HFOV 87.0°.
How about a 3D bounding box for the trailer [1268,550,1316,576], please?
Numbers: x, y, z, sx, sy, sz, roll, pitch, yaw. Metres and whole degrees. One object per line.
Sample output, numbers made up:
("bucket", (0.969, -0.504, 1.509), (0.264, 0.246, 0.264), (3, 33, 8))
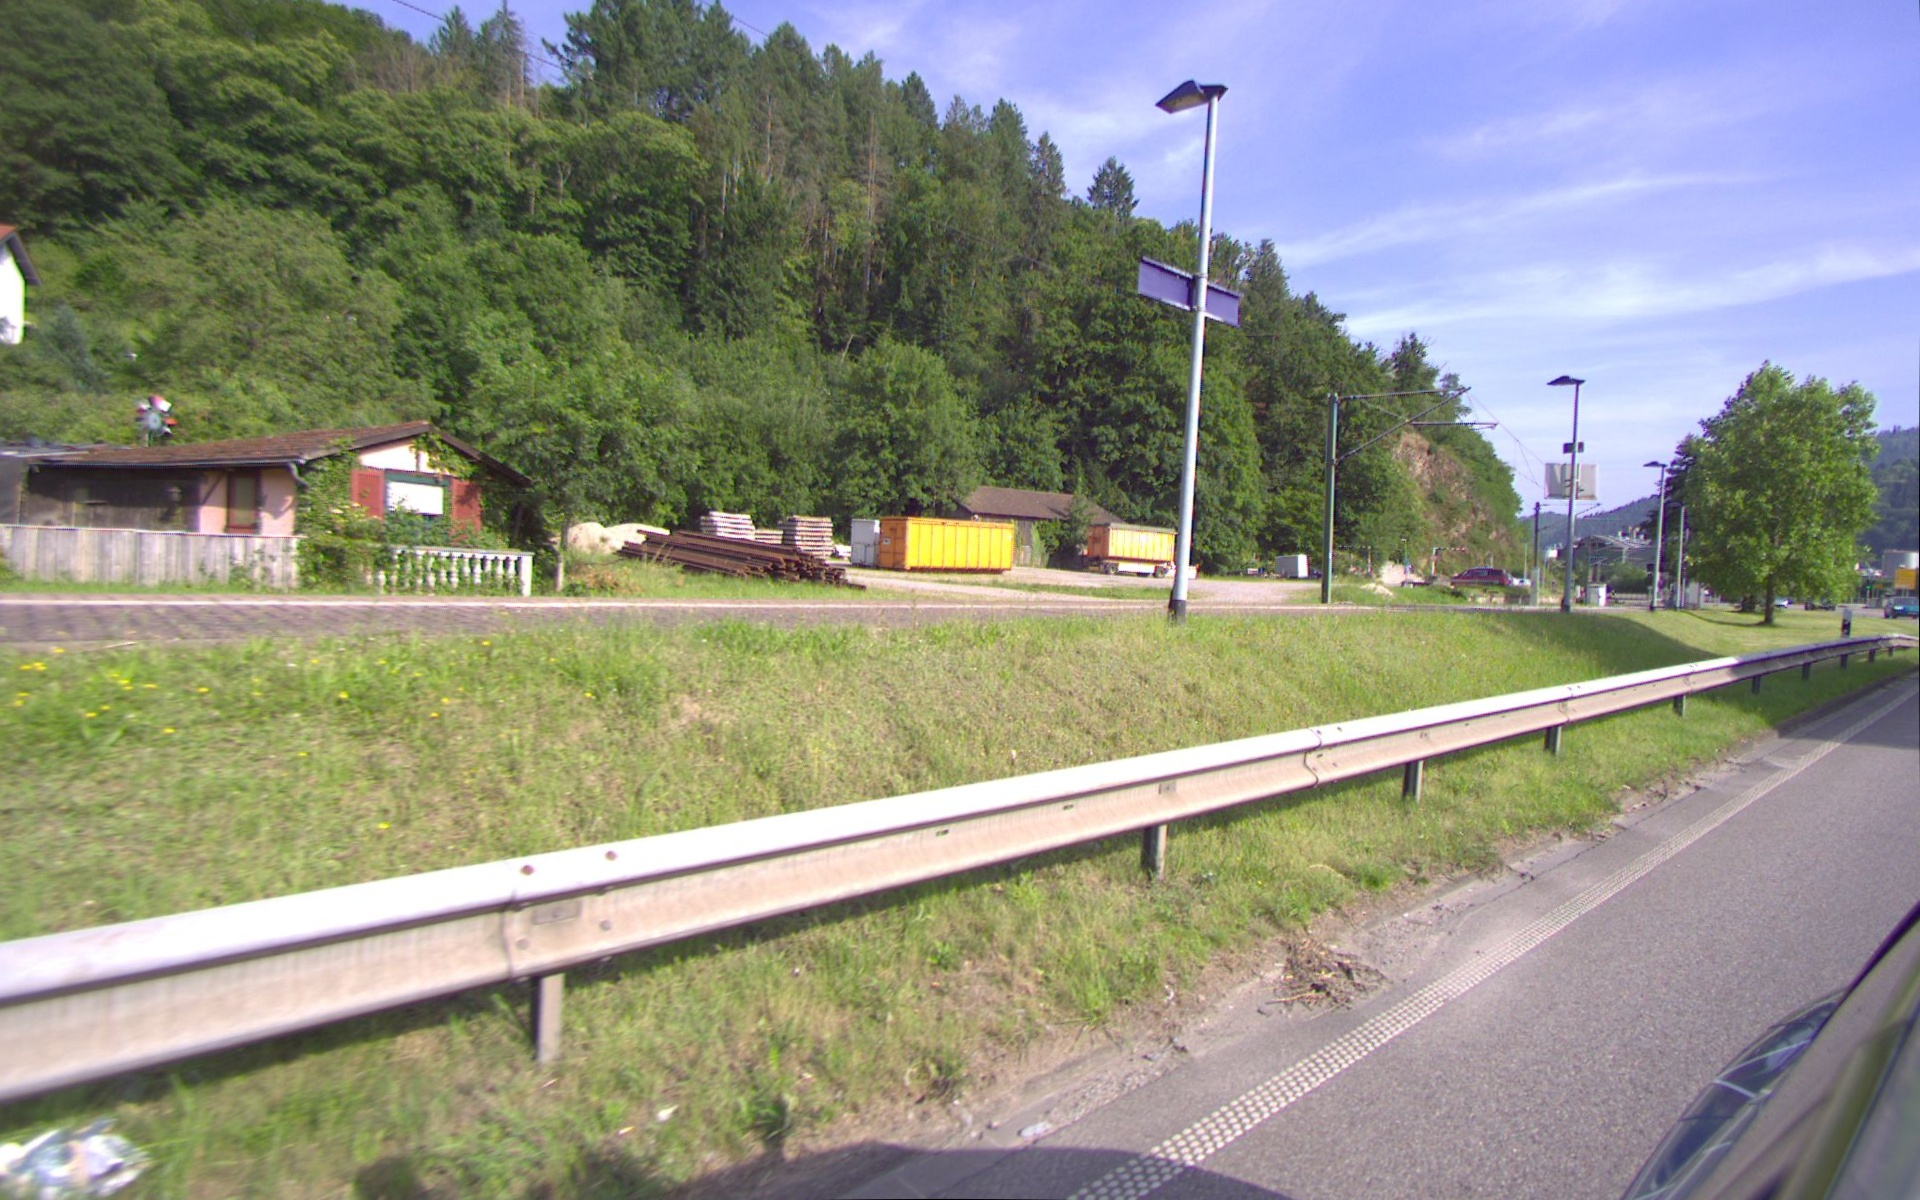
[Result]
("trailer", (30.060, -3.393, 91.735), (1.783, 2.216, 3.707), (0, 3, -34))

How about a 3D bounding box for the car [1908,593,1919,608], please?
("car", (93.506, 0.086, 98.064), (1.687, 1.419, 4.152), (1, 1, 33))

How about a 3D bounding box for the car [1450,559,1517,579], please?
("car", (45.942, -2.728, 88.821), (4.940, 1.712, 1.910), (2, 2, 38))

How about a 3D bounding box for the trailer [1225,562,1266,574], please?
("trailer", (25.286, -2.819, 89.609), (1.704, 0.926, 3.074), (0, 3, -34))

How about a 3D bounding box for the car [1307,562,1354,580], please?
("car", (33.091, -2.615, 90.551), (1.639, 1.504, 3.615), (1, 3, -35))

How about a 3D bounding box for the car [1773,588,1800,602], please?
("car", (94.571, -0.570, 115.796), (1.864, 1.478, 3.688), (4, 3, 32))

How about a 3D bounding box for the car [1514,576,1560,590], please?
("car", (61.571, -1.804, 108.040), (4.087, 1.415, 1.785), (2, 2, 38))

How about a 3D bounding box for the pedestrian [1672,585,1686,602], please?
("pedestrian", (51.040, -0.491, 71.842), (0.714, 1.175, 0.636), (0, 3, -44))

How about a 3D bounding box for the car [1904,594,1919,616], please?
("car", (66.712, 0.369, 70.060), (1.762, 1.478, 3.524), (4, 3, 40))

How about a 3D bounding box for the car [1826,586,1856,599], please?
("car", (108.294, -0.942, 124.392), (1.841, 1.488, 4.496), (0, 1, 29))

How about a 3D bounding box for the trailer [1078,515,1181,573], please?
("trailer", (12.511, -4.081, 74.306), (7.583, 3.940, 2.617), (0, 3, -34))

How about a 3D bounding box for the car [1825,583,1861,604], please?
("car", (84.685, -0.639, 97.096), (1.989, 1.815, 3.950), (7, 5, 35))
